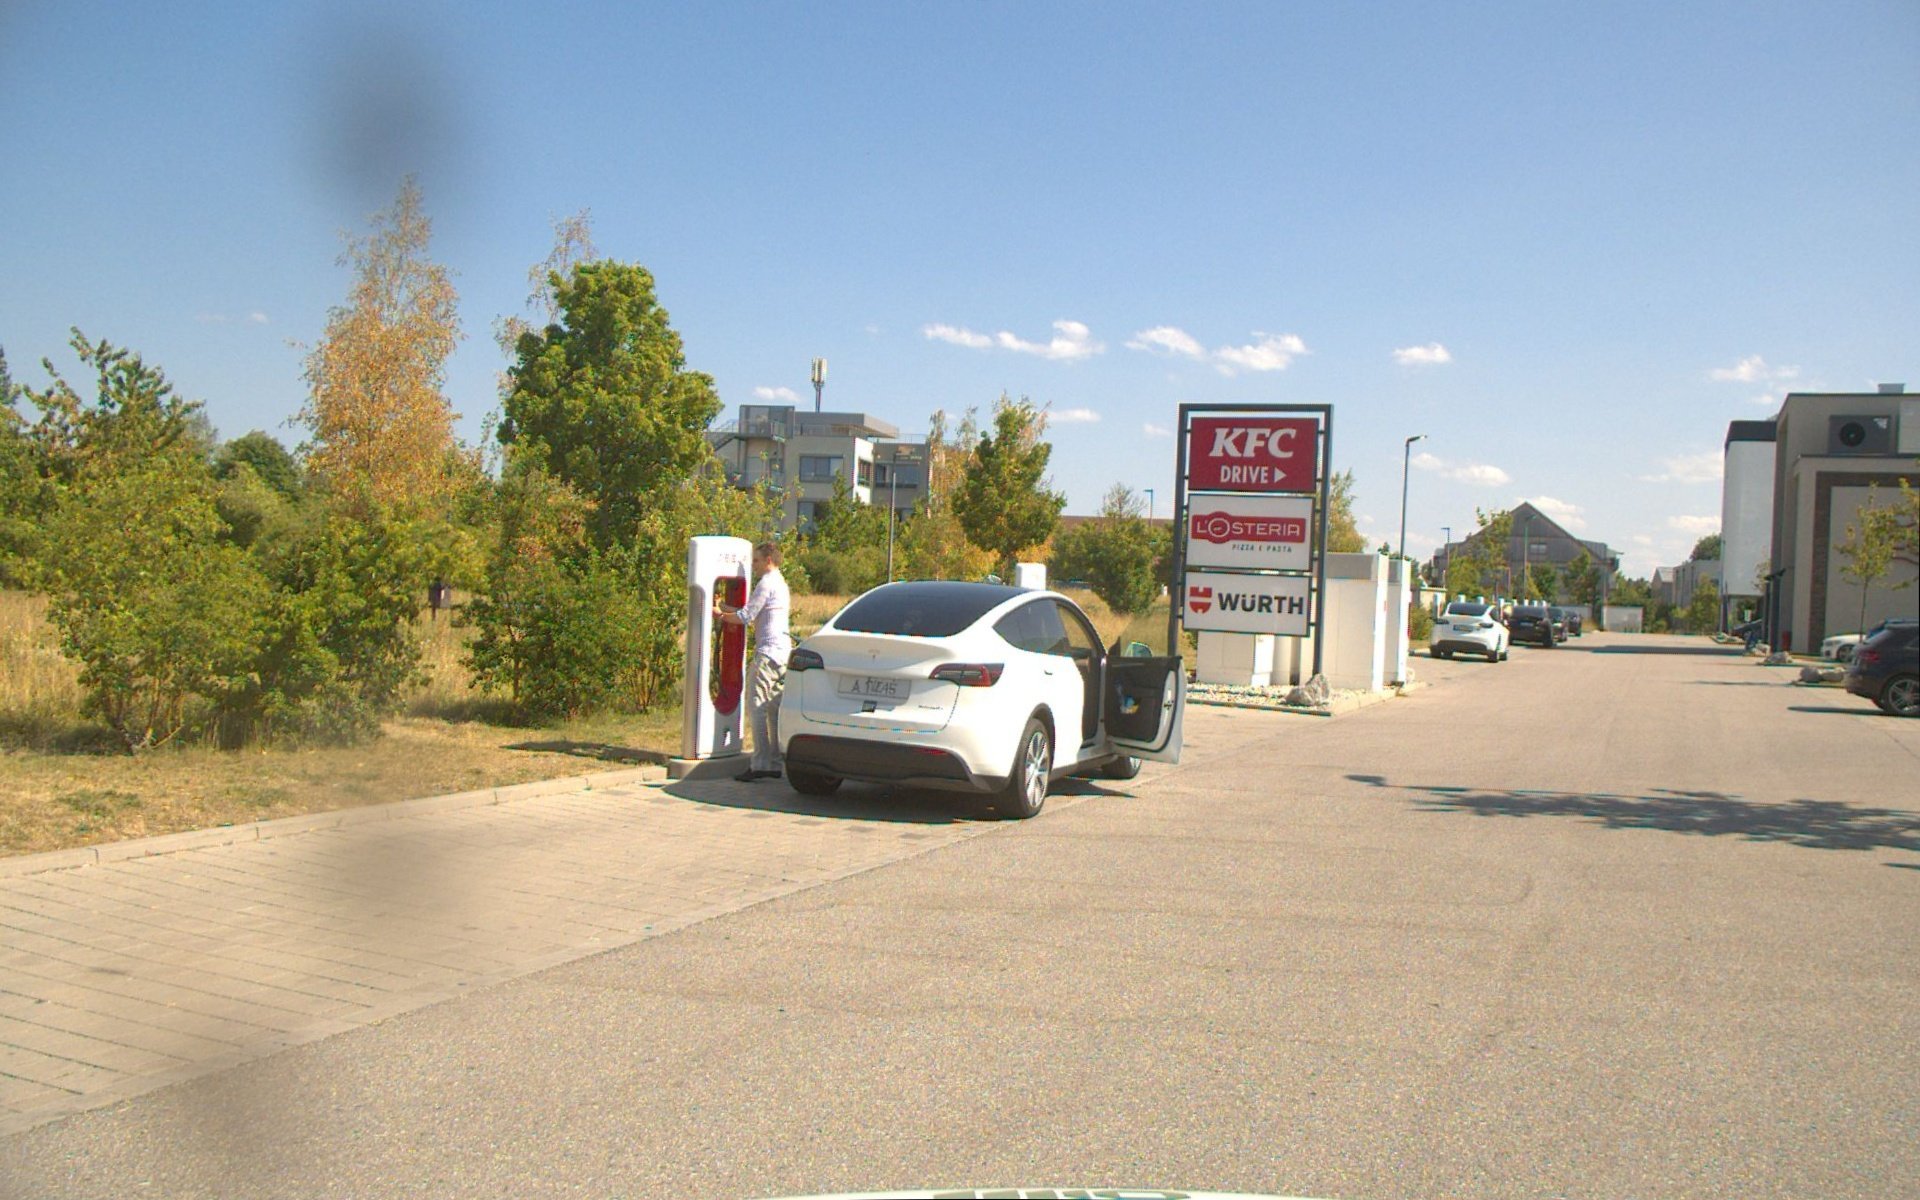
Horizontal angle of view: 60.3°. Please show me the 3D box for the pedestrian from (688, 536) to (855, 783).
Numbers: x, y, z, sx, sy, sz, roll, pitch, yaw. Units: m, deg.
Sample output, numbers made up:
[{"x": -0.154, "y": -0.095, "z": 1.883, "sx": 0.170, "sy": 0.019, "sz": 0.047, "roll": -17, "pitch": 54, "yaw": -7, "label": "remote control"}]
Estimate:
[{"x": -1.473, "y": 0.440, "z": 12.986, "sx": 1.011, "sy": 1.831, "sz": 0.737, "roll": 3, "pitch": 1, "yaw": 22, "label": "pedestrian"}]

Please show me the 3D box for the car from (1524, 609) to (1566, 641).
[{"x": 28.111, "y": 1.160, "z": 79.440, "sx": 1.707, "sy": 1.411, "sz": 4.000, "roll": 3, "pitch": 1, "yaw": 21, "label": "car"}]

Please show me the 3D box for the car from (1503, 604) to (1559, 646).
[{"x": 23.641, "y": 1.004, "z": 68.437, "sx": 1.905, "sy": 1.595, "sz": 3.999, "roll": 3, "pitch": 1, "yaw": 23, "label": "car"}]

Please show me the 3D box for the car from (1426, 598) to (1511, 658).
[{"x": 15.032, "y": 0.802, "z": 48.737, "sx": 1.906, "sy": 1.595, "sz": 3.998, "roll": 3, "pitch": 1, "yaw": 24, "label": "car"}]

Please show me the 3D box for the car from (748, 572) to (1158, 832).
[{"x": 0.167, "y": 0.667, "z": 13.251, "sx": 1.825, "sy": 1.628, "sz": 4.490, "roll": 3, "pitch": 1, "yaw": 19, "label": "car"}]

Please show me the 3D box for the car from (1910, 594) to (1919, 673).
[{"x": 22.952, "y": 0.823, "z": 35.356, "sx": 4.279, "sy": 1.714, "sz": 1.642, "roll": 3, "pitch": 1, "yaw": 18, "label": "car"}]

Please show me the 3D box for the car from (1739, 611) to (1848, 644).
[{"x": 35.080, "y": 1.139, "z": 69.742, "sx": 3.906, "sy": 1.176, "sz": 2.000, "roll": 2, "pitch": 1, "yaw": 22, "label": "car"}]

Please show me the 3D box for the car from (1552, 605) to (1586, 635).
[{"x": 35.051, "y": 1.133, "z": 95.105, "sx": 1.707, "sy": 1.595, "sz": 4.000, "roll": 3, "pitch": 1, "yaw": 21, "label": "car"}]

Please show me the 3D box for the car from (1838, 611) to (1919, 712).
[{"x": 15.840, "y": 1.003, "z": 25.237, "sx": 4.116, "sy": 1.466, "sz": 1.698, "roll": 3, "pitch": 1, "yaw": 23, "label": "car"}]

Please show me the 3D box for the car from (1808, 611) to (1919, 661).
[{"x": 29.893, "y": 1.163, "z": 53.745, "sx": 3.905, "sy": 1.445, "sz": 1.651, "roll": 3, "pitch": 1, "yaw": 20, "label": "car"}]
